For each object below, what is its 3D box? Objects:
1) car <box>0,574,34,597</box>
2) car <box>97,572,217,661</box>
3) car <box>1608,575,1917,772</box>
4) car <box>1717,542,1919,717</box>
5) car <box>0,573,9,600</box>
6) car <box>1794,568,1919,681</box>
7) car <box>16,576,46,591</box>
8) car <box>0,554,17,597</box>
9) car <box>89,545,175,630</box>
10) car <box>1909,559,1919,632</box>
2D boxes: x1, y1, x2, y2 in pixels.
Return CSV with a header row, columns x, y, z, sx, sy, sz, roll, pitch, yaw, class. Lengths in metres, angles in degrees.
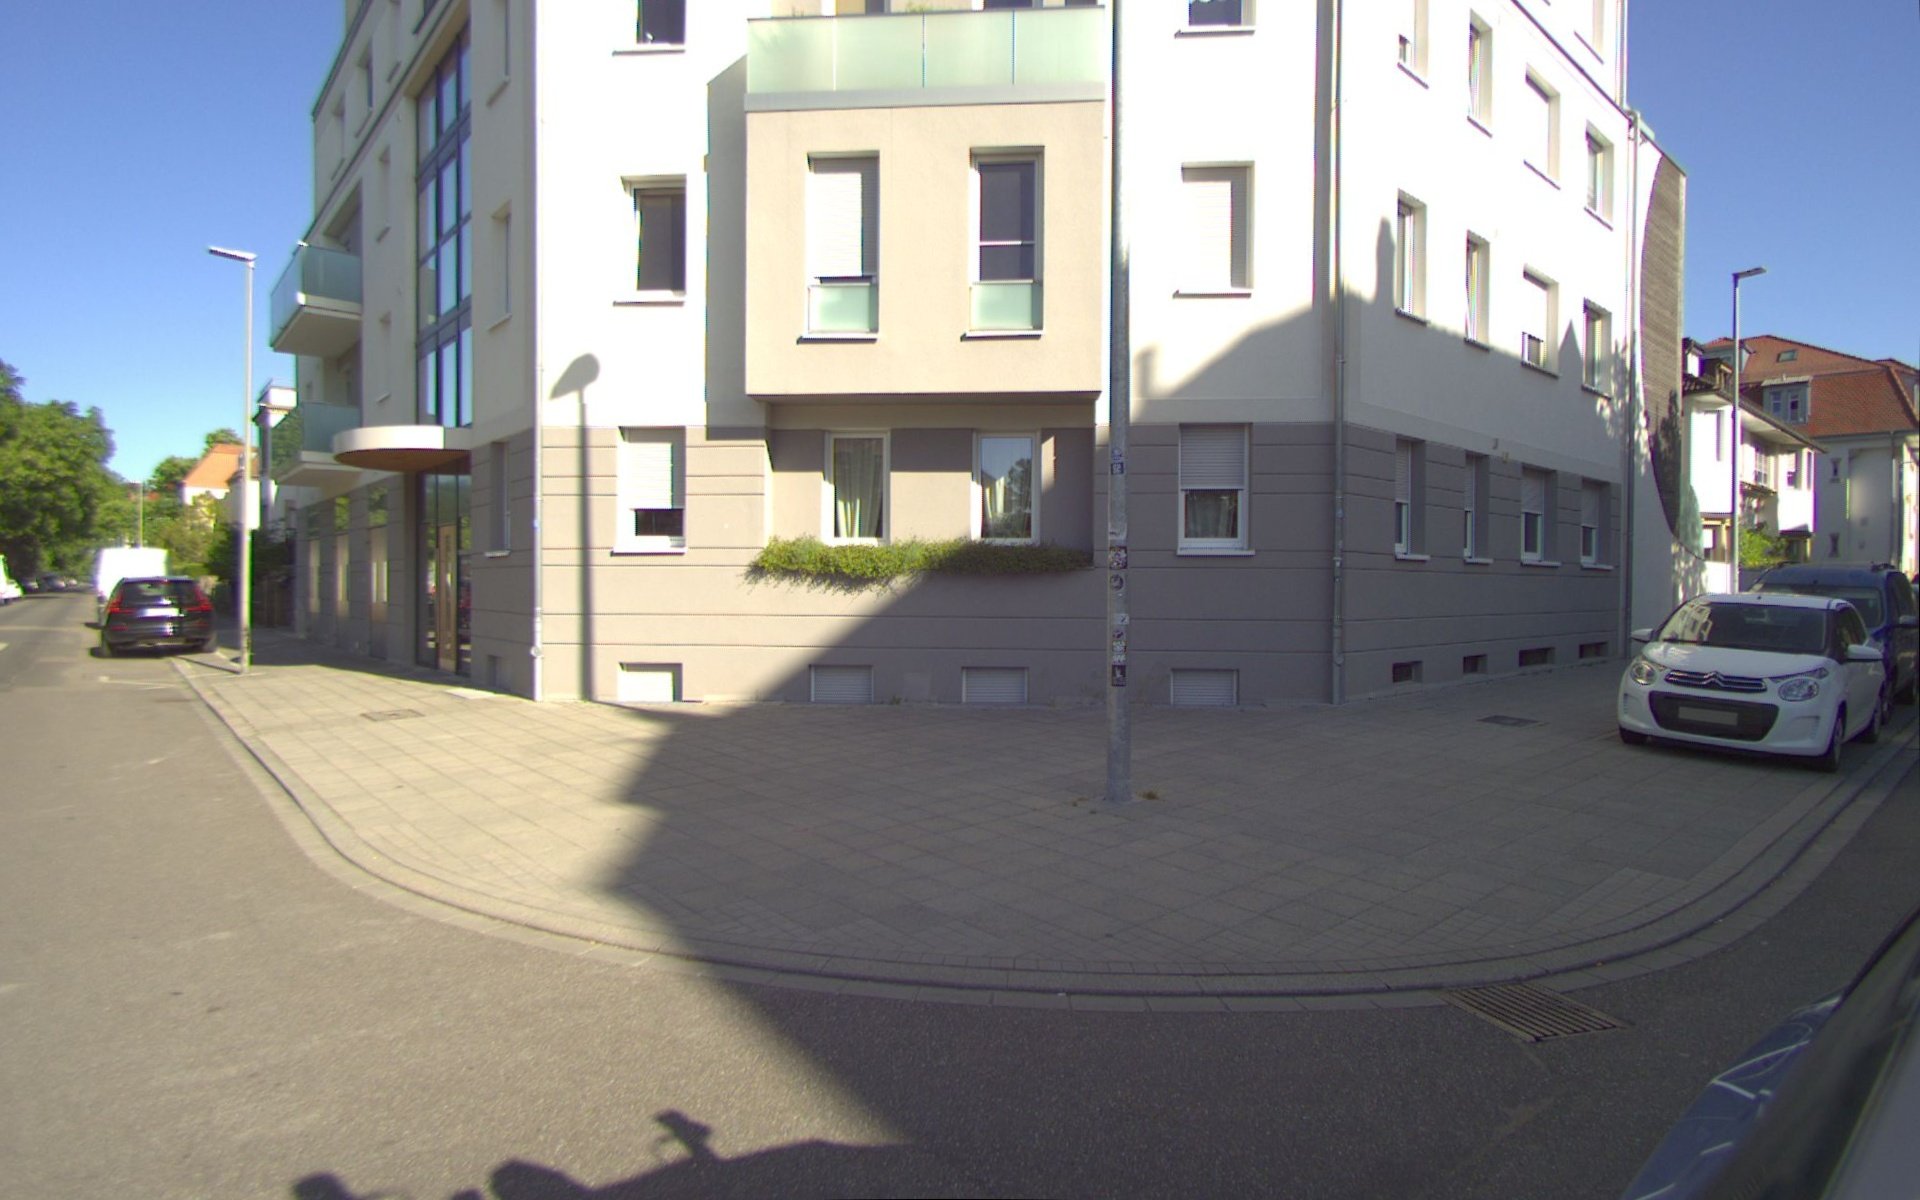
x,y,z,sx,sy,sz,roll,pitch,yaw,class
-64.560,-1.019,68.866,2.044,1.484,4.722,0,1,-40,car
-17.492,0.258,22.034,1.863,1.703,4.284,-2,3,-40,car
7.839,0.546,9.778,3.624,1.465,1.664,-1,4,-41,car
11.314,0.261,12.961,4.182,1.857,1.665,-1,4,-41,car
-50.640,-0.706,52.299,1.900,1.361,4.105,0,1,-40,car
14.991,0.326,16.334,3.995,1.560,1.665,-1,4,-41,car
-94.745,-1.669,103.254,2.044,1.484,4.722,0,1,-40,car
-55.213,-1.402,57.158,2.506,2.363,5.913,0,1,-40,car
-26.900,-0.466,32.901,1.988,2.580,3.990,-2,2,-40,car
27.015,-0.080,27.053,4.325,1.894,1.884,-1,4,-41,car
